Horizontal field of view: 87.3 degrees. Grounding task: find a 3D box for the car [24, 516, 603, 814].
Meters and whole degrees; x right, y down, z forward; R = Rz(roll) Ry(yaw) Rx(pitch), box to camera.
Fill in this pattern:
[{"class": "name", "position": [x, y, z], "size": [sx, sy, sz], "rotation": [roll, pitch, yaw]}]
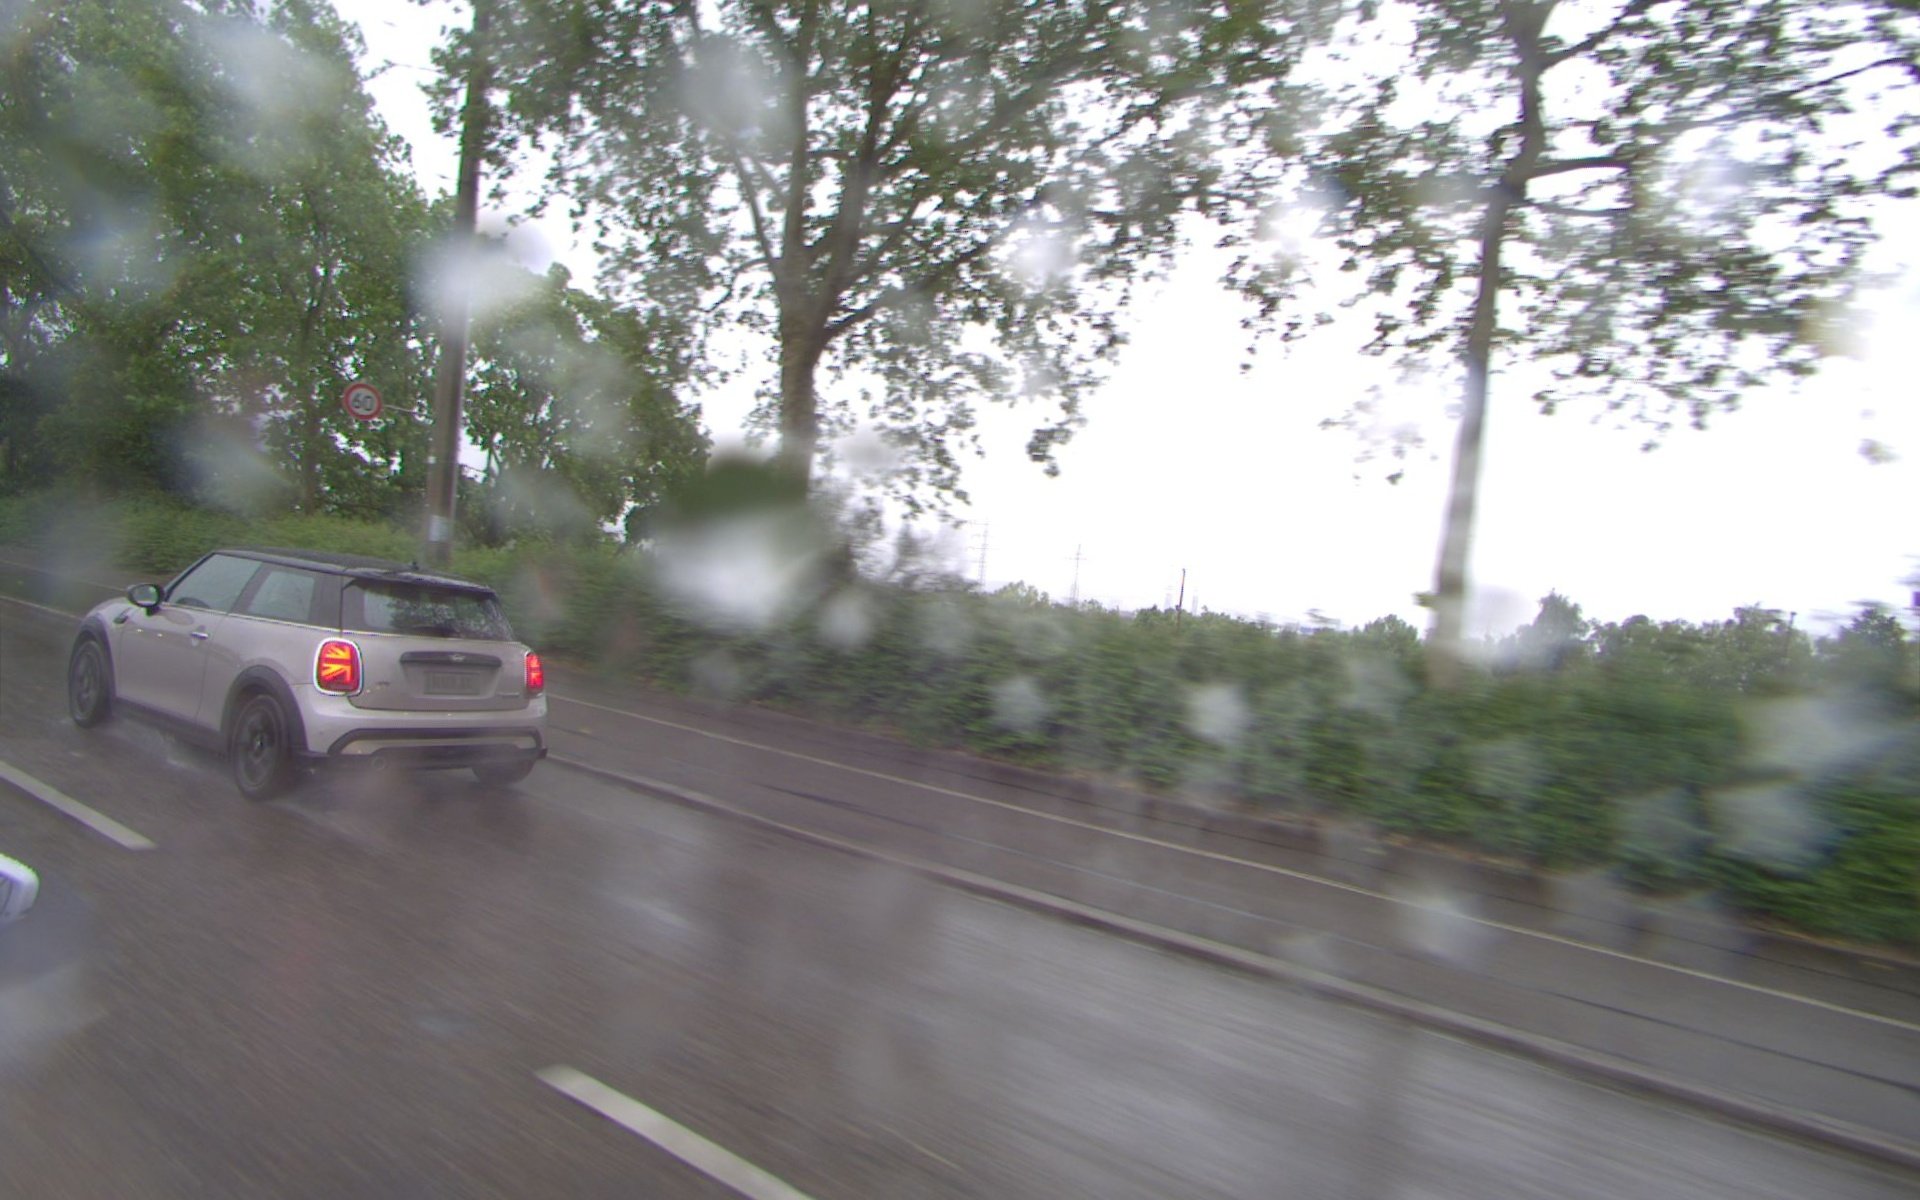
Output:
[{"class": "car", "position": [-4.581, 0.369, 7.044], "size": [3.790, 1.429, 1.796], "rotation": [6, -4, 31]}]
